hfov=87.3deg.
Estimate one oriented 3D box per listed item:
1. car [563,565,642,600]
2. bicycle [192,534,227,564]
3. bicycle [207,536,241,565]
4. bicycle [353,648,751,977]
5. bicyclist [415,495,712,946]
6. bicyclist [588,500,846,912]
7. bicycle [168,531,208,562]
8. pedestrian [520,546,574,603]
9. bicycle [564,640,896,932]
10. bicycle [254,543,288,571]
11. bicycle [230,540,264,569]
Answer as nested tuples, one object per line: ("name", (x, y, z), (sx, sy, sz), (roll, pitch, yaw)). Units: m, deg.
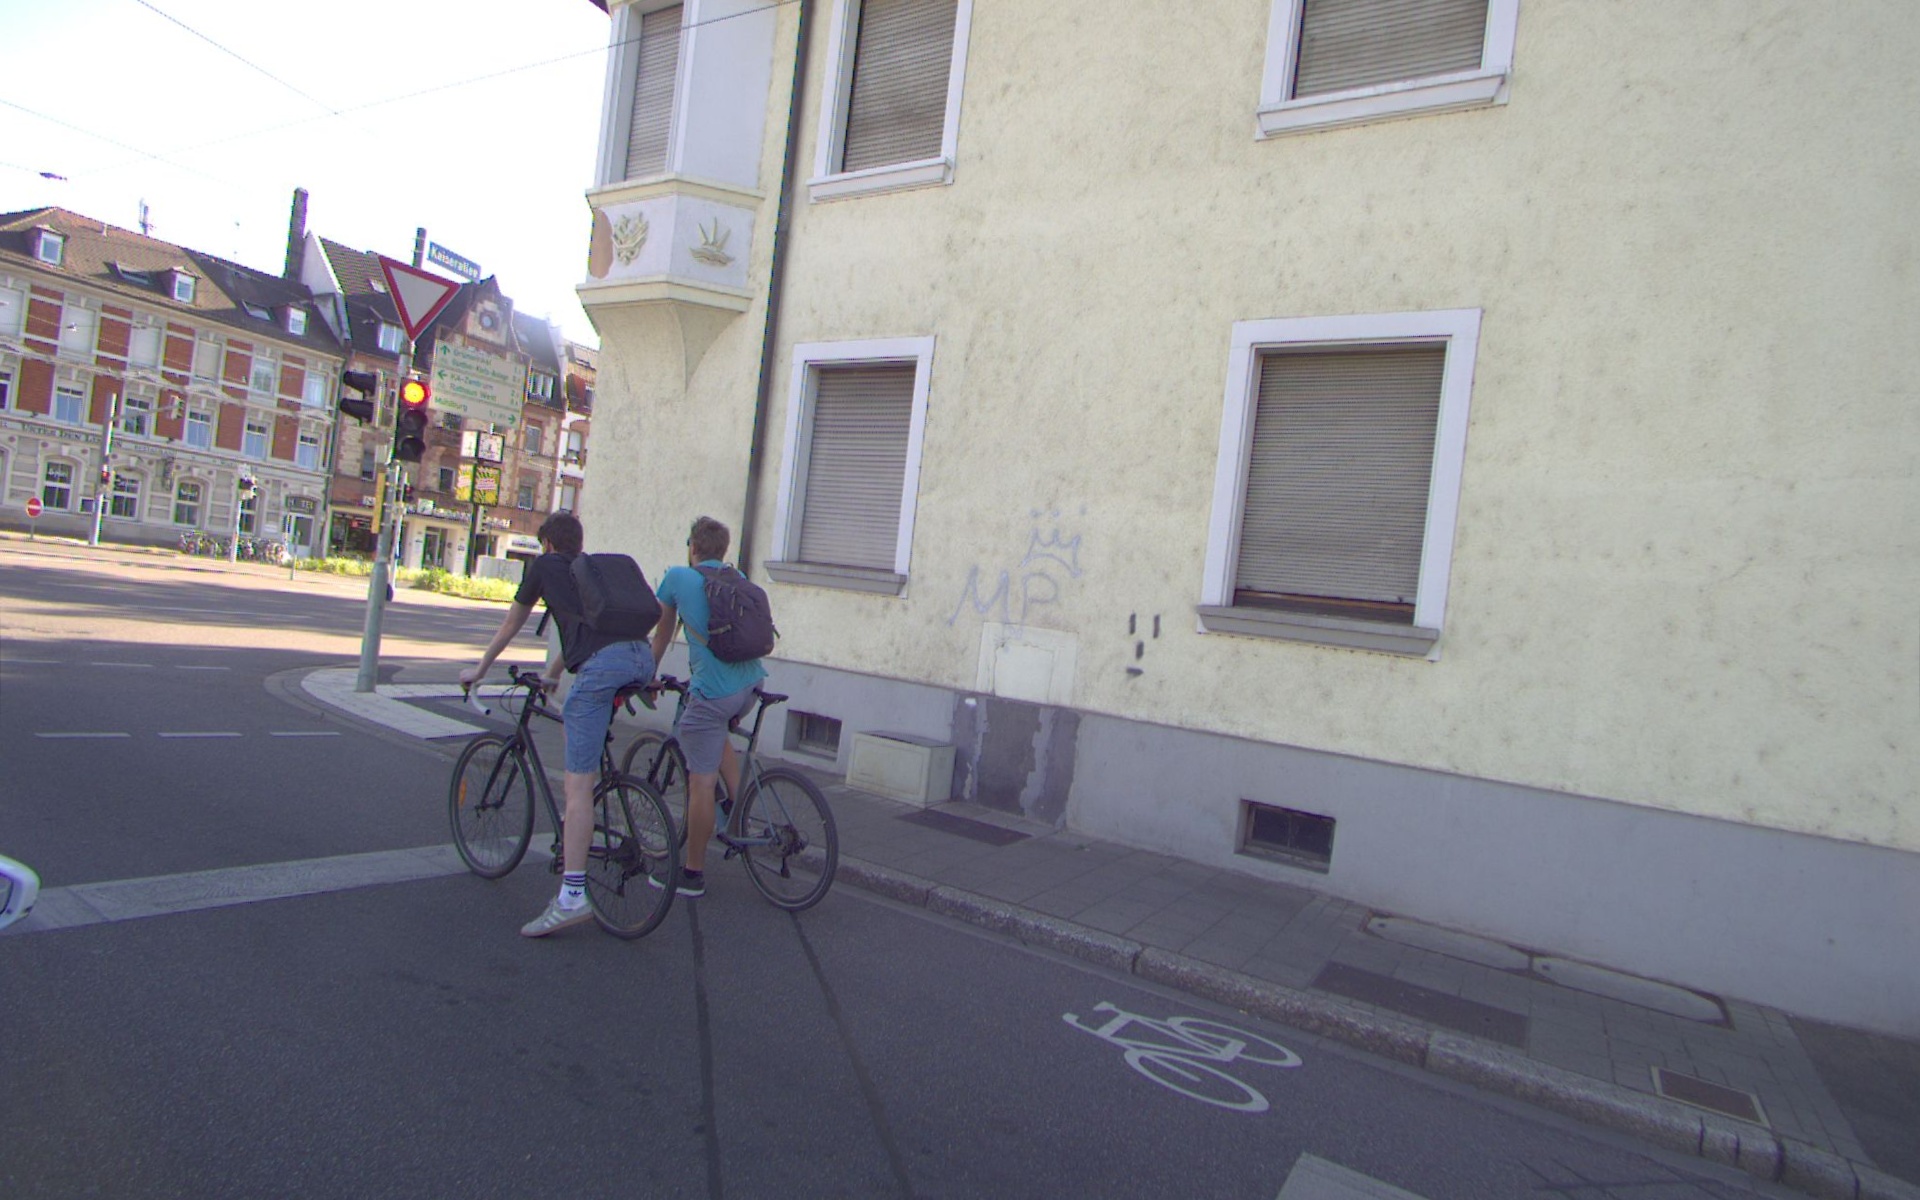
("car", (-23.172, -1.110, 65.327), (2.116, 1.660, 4.340), (7, -1, 31))
("bicycle", (-34.547, -2.347, 46.287), (2.140, 1.157, 0.618), (7, 0, 37))
("bicycle", (-34.212, -2.299, 46.765), (2.140, 1.157, 0.618), (7, 0, 37))
("bicycle", (-1.917, 0.856, 4.599), (1.897, 1.023, 0.645), (7, 0, 34))
("bicyclist", (-1.805, 0.474, 4.553), (1.083, 1.775, 0.562), (7, 0, 34))
("bicyclist", (-1.272, 0.501, 5.254), (0.961, 1.917, 0.602), (6, -1, 34))
("bicycle", (-35.061, -2.437, 45.685), (2.140, 1.157, 0.806), (7, 0, 37))
("pedestrian", (-16.567, -1.030, 40.384), (1.285, 2.068, 1.321), (7, 0, 31))
("bicycle", (-1.256, 0.888, 5.289), (1.784, 1.130, 0.519), (7, 0, 34))
("bicycle", (-33.114, -2.059, 48.321), (2.102, 1.150, 0.609), (7, 0, 37))
("bicycle", (-33.679, -2.152, 47.516), (2.140, 1.157, 0.618), (7, 0, 37))
